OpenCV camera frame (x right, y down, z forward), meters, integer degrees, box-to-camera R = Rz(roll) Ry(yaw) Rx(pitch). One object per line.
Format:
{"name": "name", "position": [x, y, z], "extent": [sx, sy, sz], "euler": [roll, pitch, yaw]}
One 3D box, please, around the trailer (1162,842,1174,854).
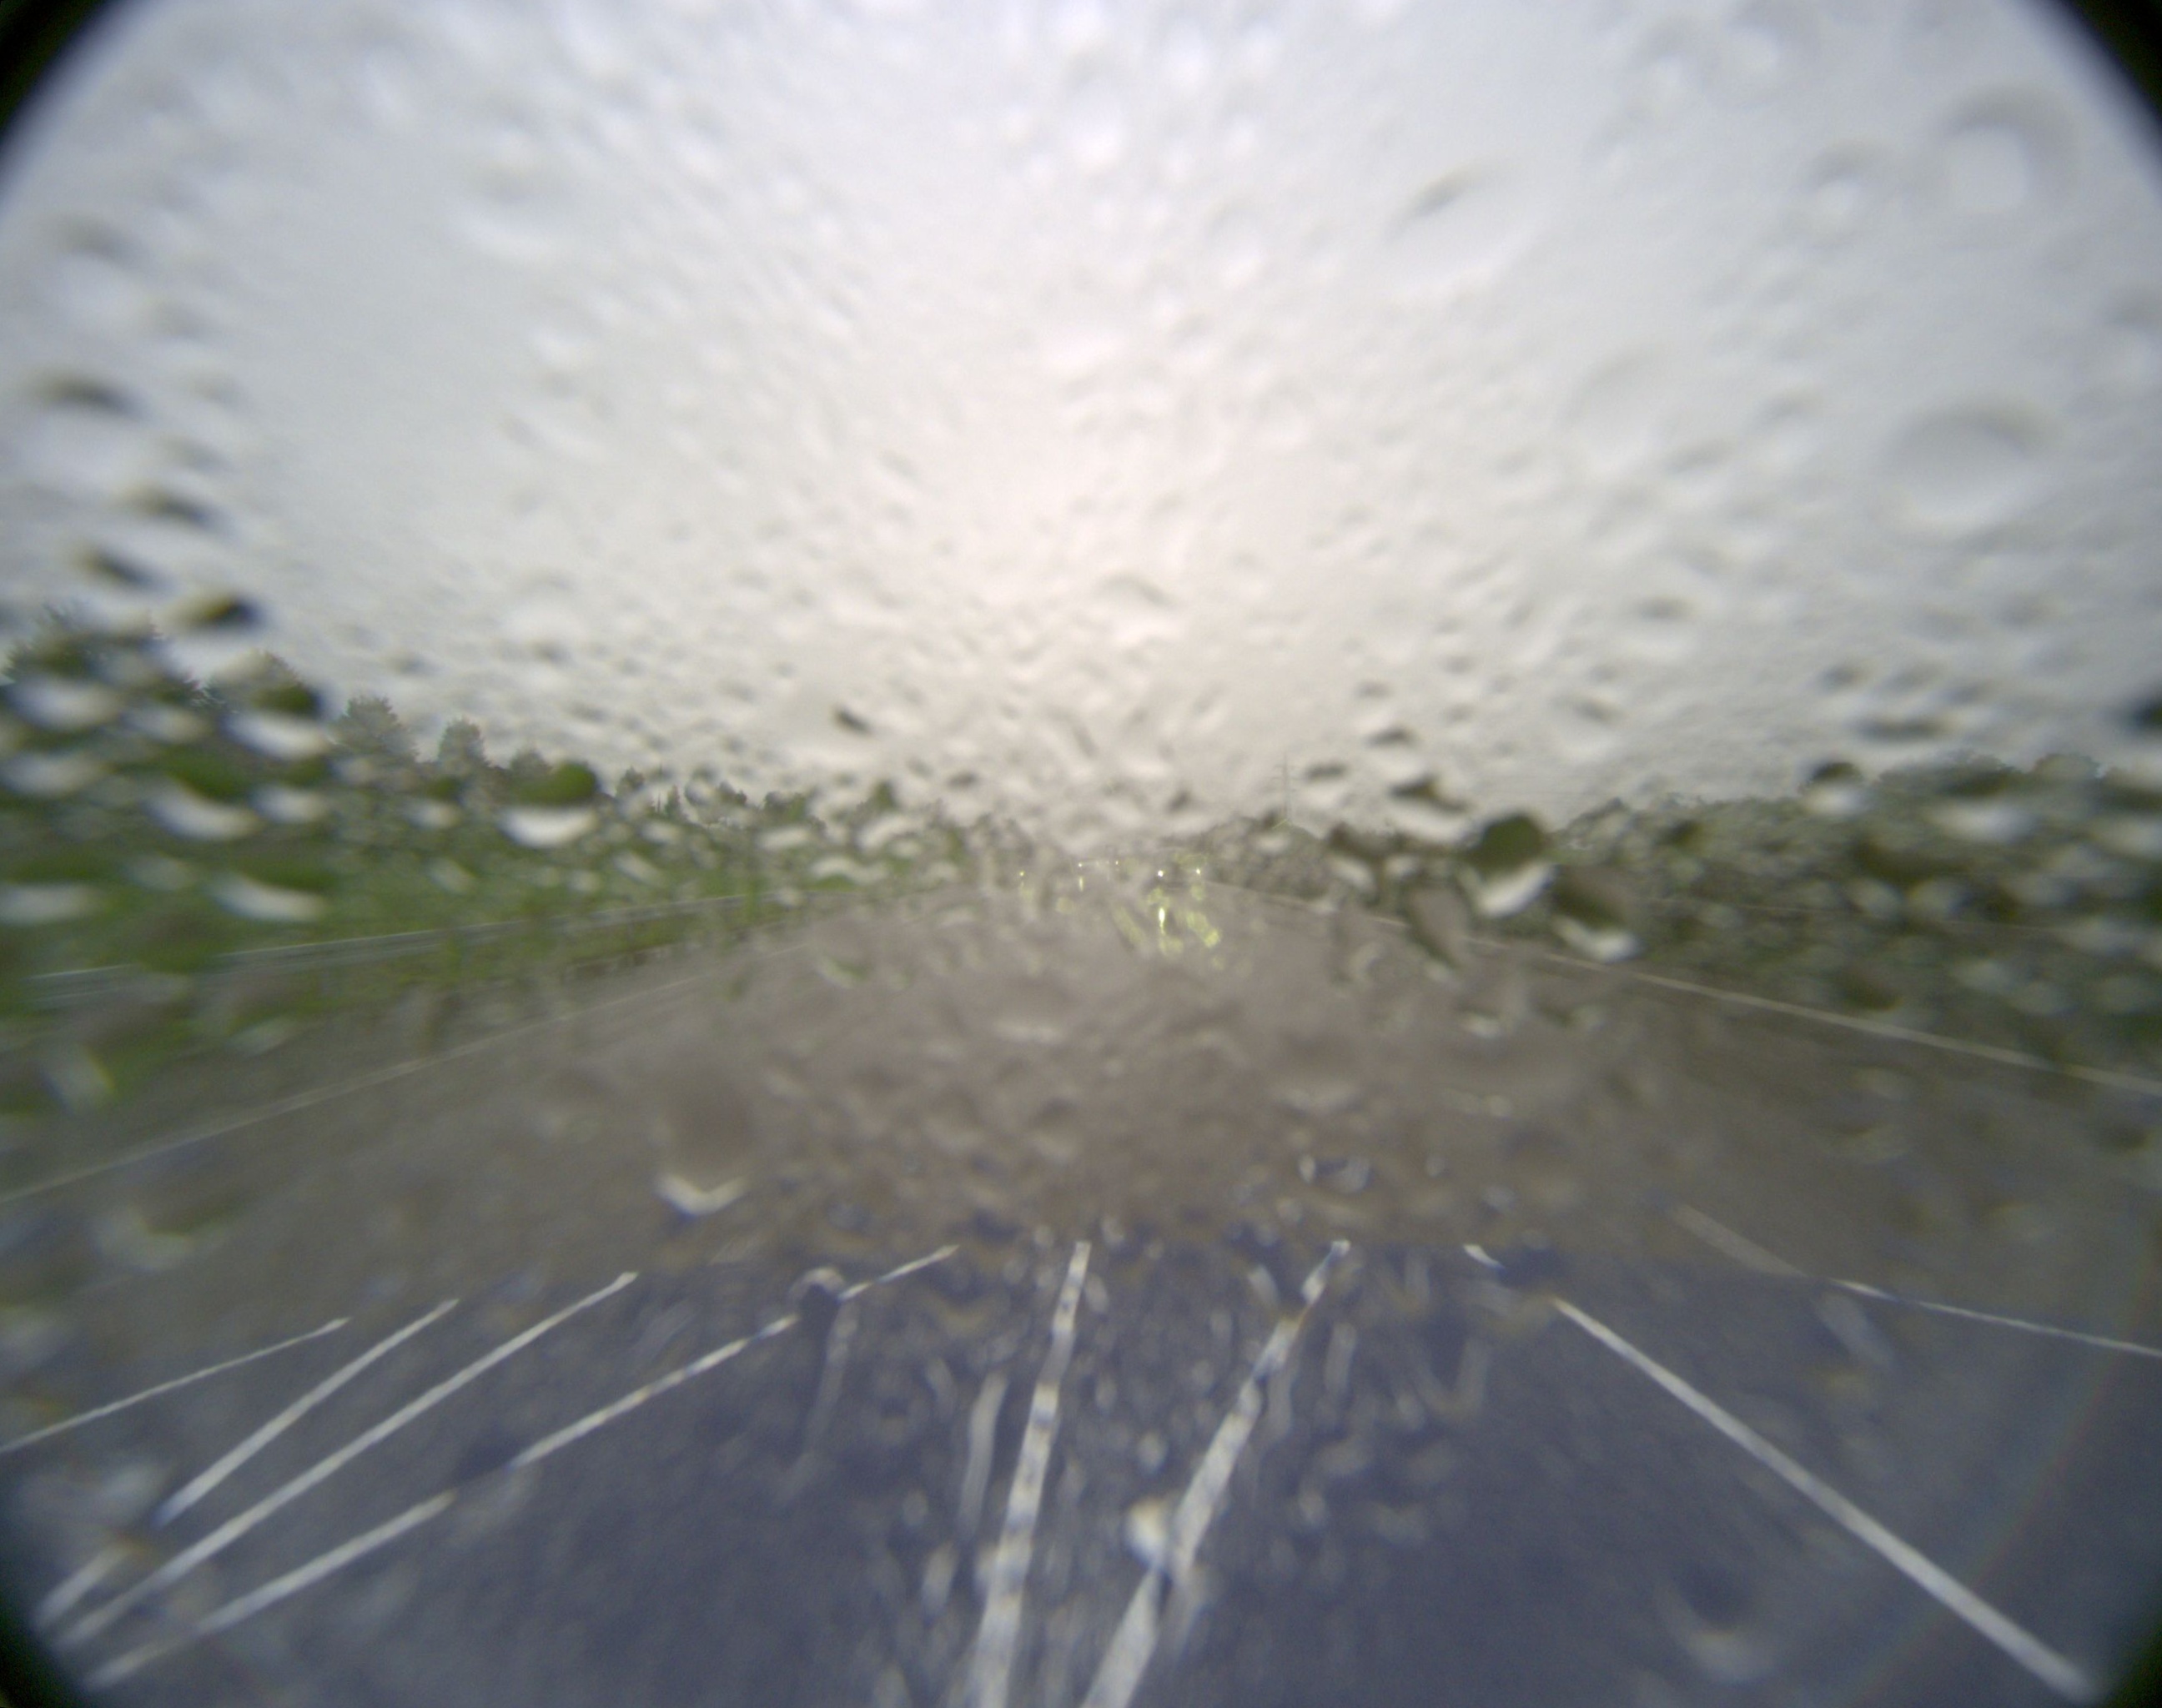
{"name": "trailer", "position": [22.906, -1.638, 199.821], "extent": [2.252, 3.047, 8.264], "euler": [-3, 1, 1]}

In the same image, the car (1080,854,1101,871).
{"name": "car", "position": [0.825, 0.716, 67.055], "extent": [1.753, 1.406, 3.999], "euler": [-3, 0, 0]}

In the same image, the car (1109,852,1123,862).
{"name": "car", "position": [4.851, 0.405, 107.041], "extent": [1.753, 1.369, 4.000], "euler": [-3, 0, 0]}

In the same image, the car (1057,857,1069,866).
{"name": "car", "position": [-2.779, 1.135, 117.837], "extent": [1.753, 1.205, 3.999], "euler": [-3, 0, 0]}

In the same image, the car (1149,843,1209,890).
{"name": "car", "position": [3.977, 0.479, 31.609], "extent": [2.047, 1.763, 4.500], "euler": [-2, 0, 2]}

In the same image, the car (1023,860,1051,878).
{"name": "car", "position": [-3.223, 1.098, 56.495], "extent": [1.753, 1.205, 3.999], "euler": [-3, 0, 0]}
